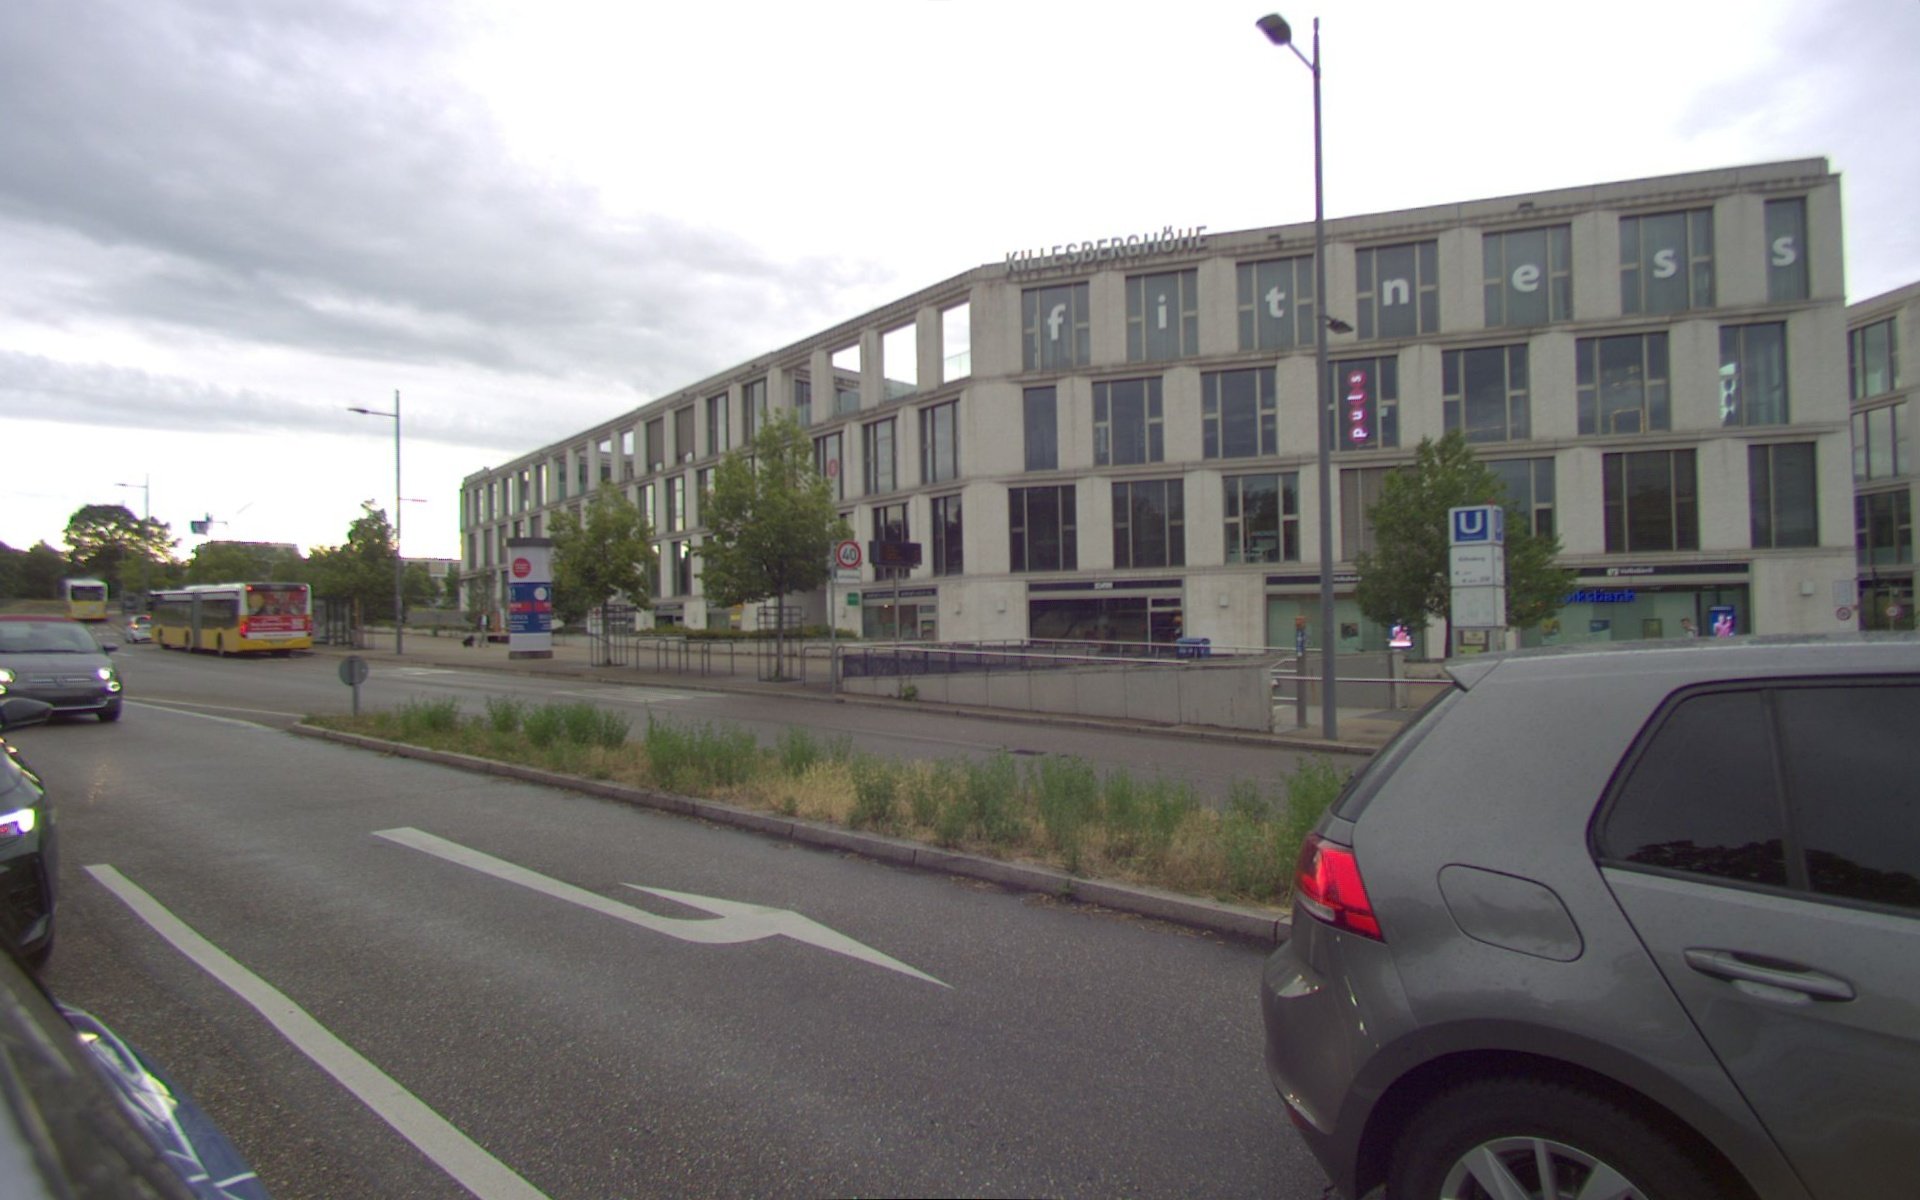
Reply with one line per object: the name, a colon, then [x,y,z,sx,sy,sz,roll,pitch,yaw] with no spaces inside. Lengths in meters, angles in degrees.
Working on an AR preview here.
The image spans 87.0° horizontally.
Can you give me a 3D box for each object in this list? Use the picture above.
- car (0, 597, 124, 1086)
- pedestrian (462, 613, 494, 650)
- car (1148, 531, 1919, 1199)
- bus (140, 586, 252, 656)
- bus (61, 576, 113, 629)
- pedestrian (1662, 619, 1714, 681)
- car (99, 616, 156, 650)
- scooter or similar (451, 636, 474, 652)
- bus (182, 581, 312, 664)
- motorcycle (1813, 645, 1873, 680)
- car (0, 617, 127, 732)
car: [-5.116,0.760,4.144,4.766,1.476,1.877,-1,0,41]
pedestrian: [-21.143,1.387,44.389,0.980,1.593,0.857,-1,0,32]
car: [2.634,0.650,1.416,4.374,1.492,1.797,-1,-2,41]
bus: [-38.155,0.985,50.376,9.911,3.205,2.658,-1,0,42]
bus: [-76.584,0.264,89.039,2.717,4.185,19.383,-1,0,-39]
pedestrian: [19.234,1.306,26.749,0.907,1.617,0.760,0,-1,18]
car: [-47.361,1.833,57.551,3.998,1.800,1.843,-1,0,41]
scooter or similar: [-21.920,1.929,44.578,0.832,0.656,0.633,-1,-2,39]
bus: [-31.128,0.916,43.969,9.206,3.236,2.723,-1,0,43]
motorcycle: [20.416,1.440,23.415,0.517,0.746,1.098,-1,0,9]
car: [-13.548,0.994,14.634,3.501,1.492,1.611,-1,-1,38]
